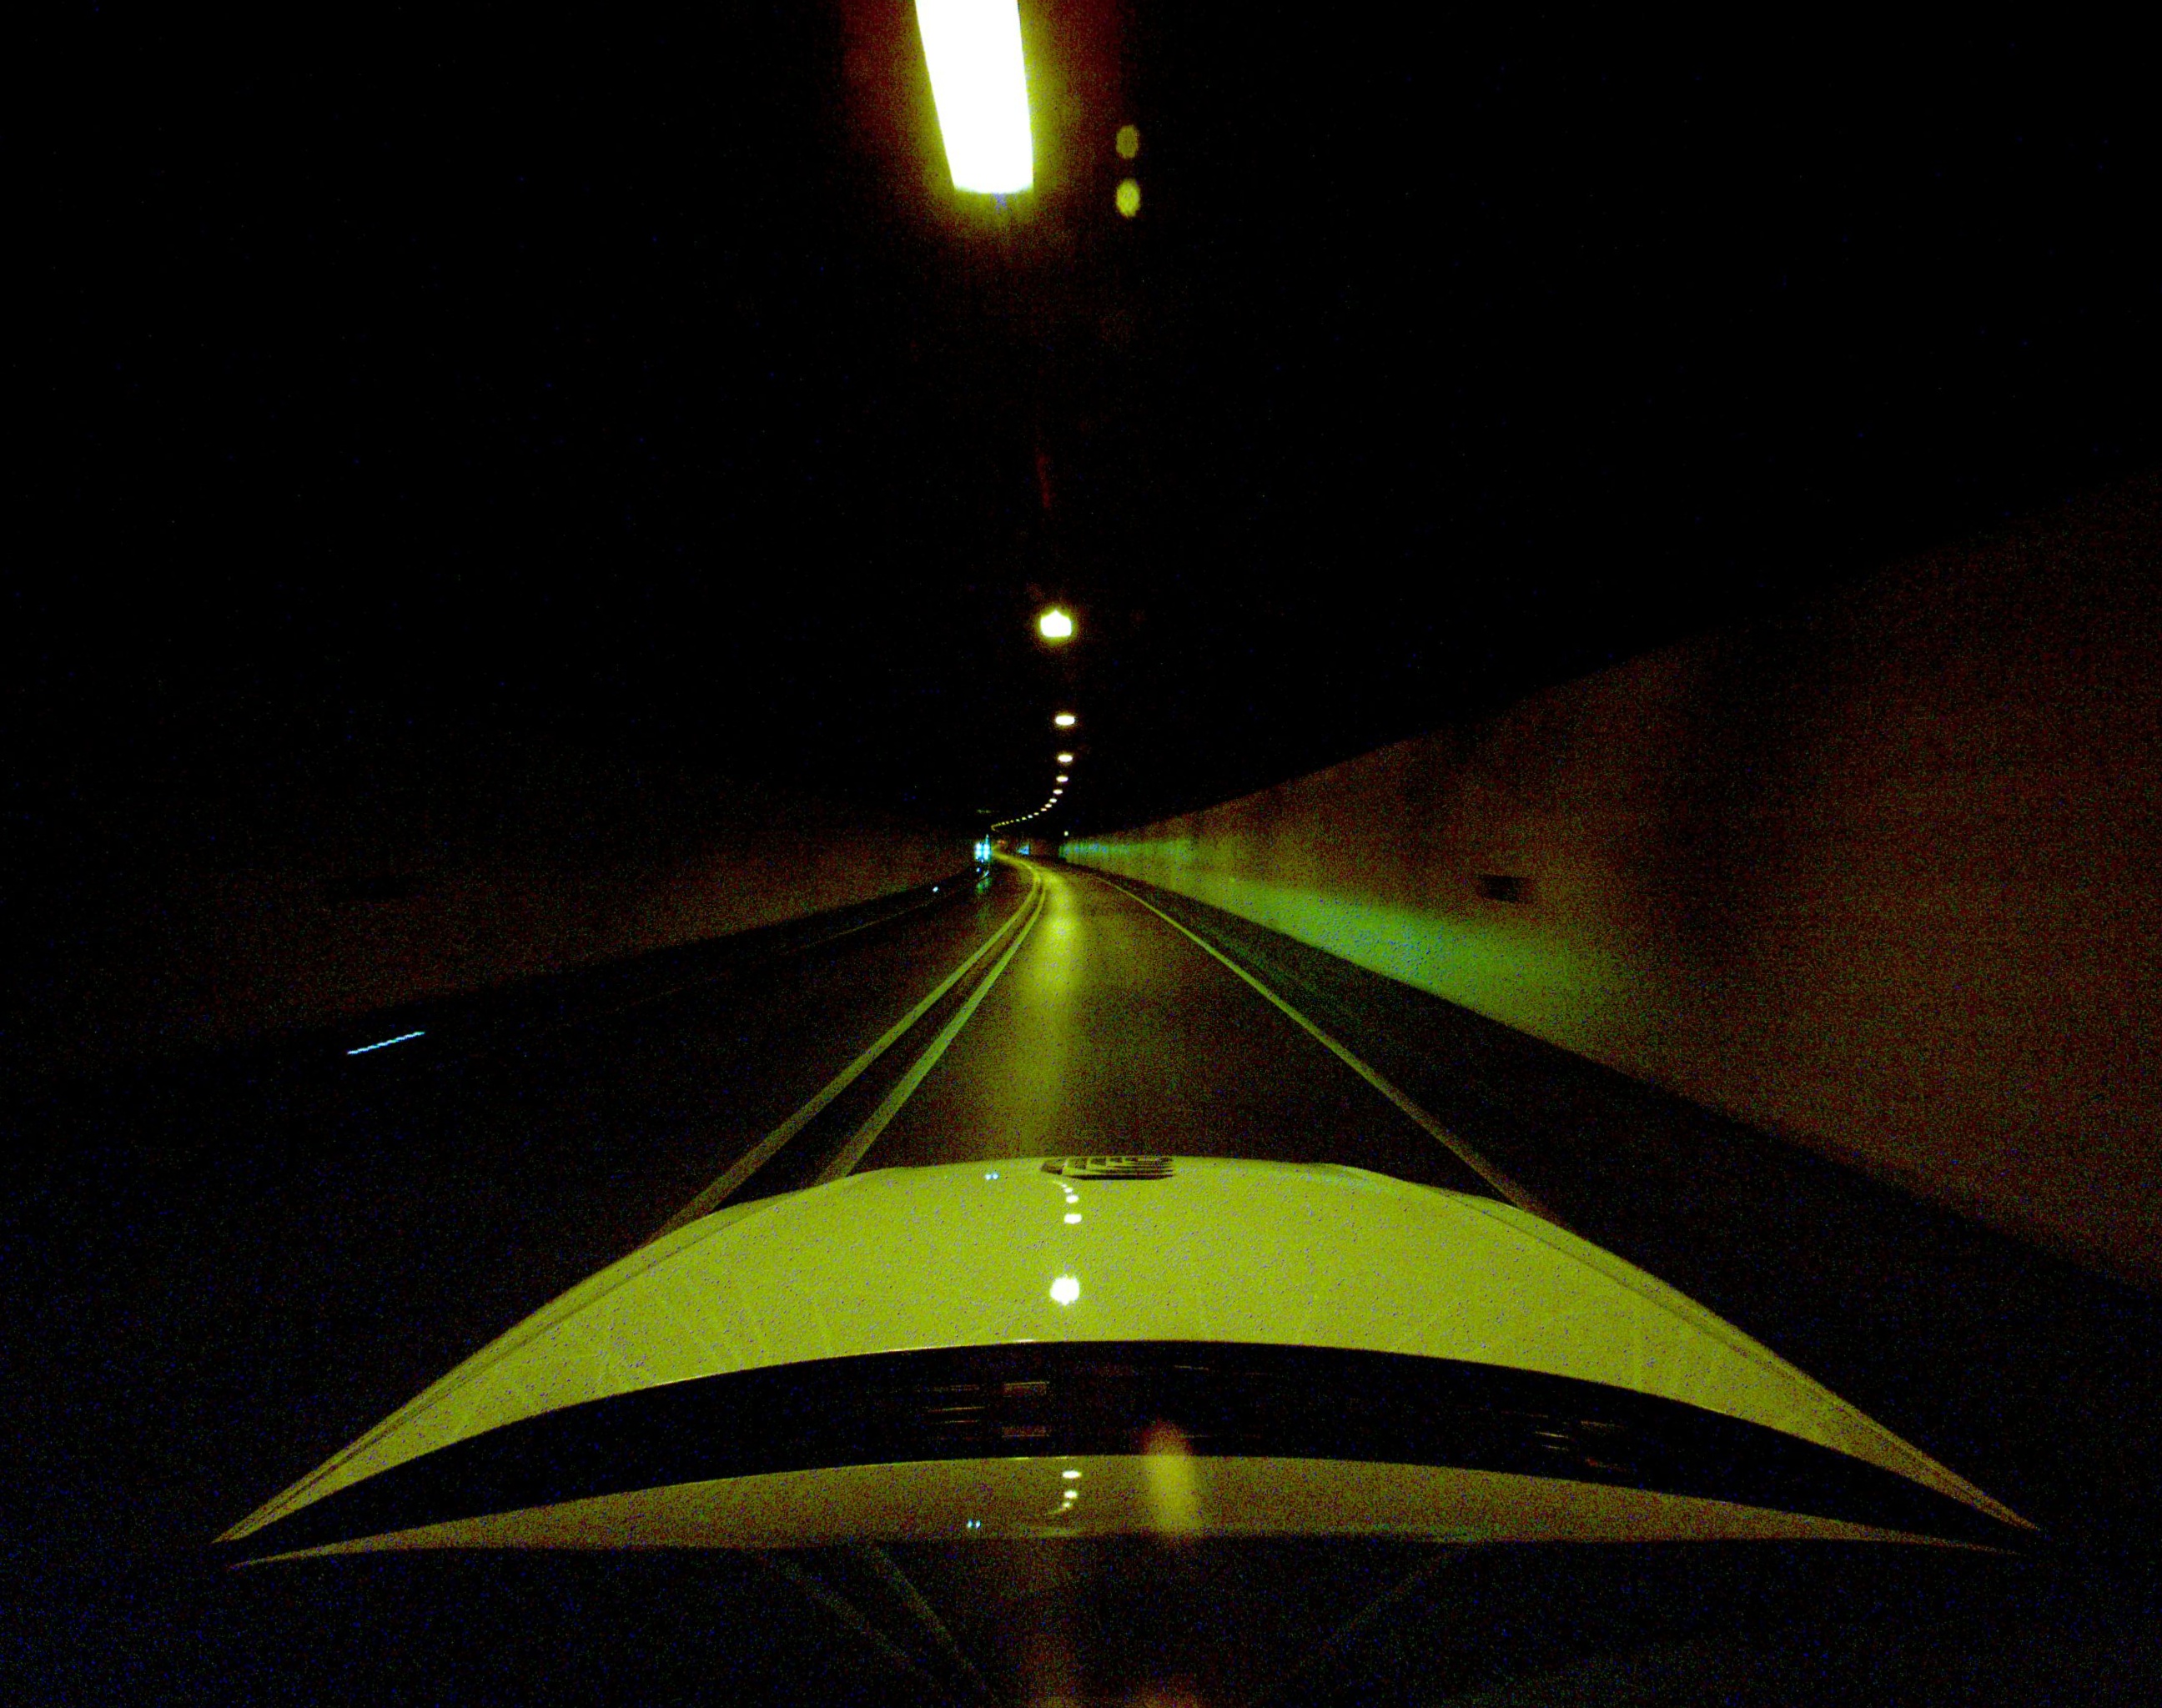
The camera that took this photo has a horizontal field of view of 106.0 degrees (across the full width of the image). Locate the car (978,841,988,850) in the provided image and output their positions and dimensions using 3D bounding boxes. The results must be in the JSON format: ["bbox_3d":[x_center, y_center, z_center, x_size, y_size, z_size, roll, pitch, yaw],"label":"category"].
[{"bbox_3d":[-18.957,-1.693,157.162,1.992,1.596,3.989,1,-1,-7],"label":"car"}]
